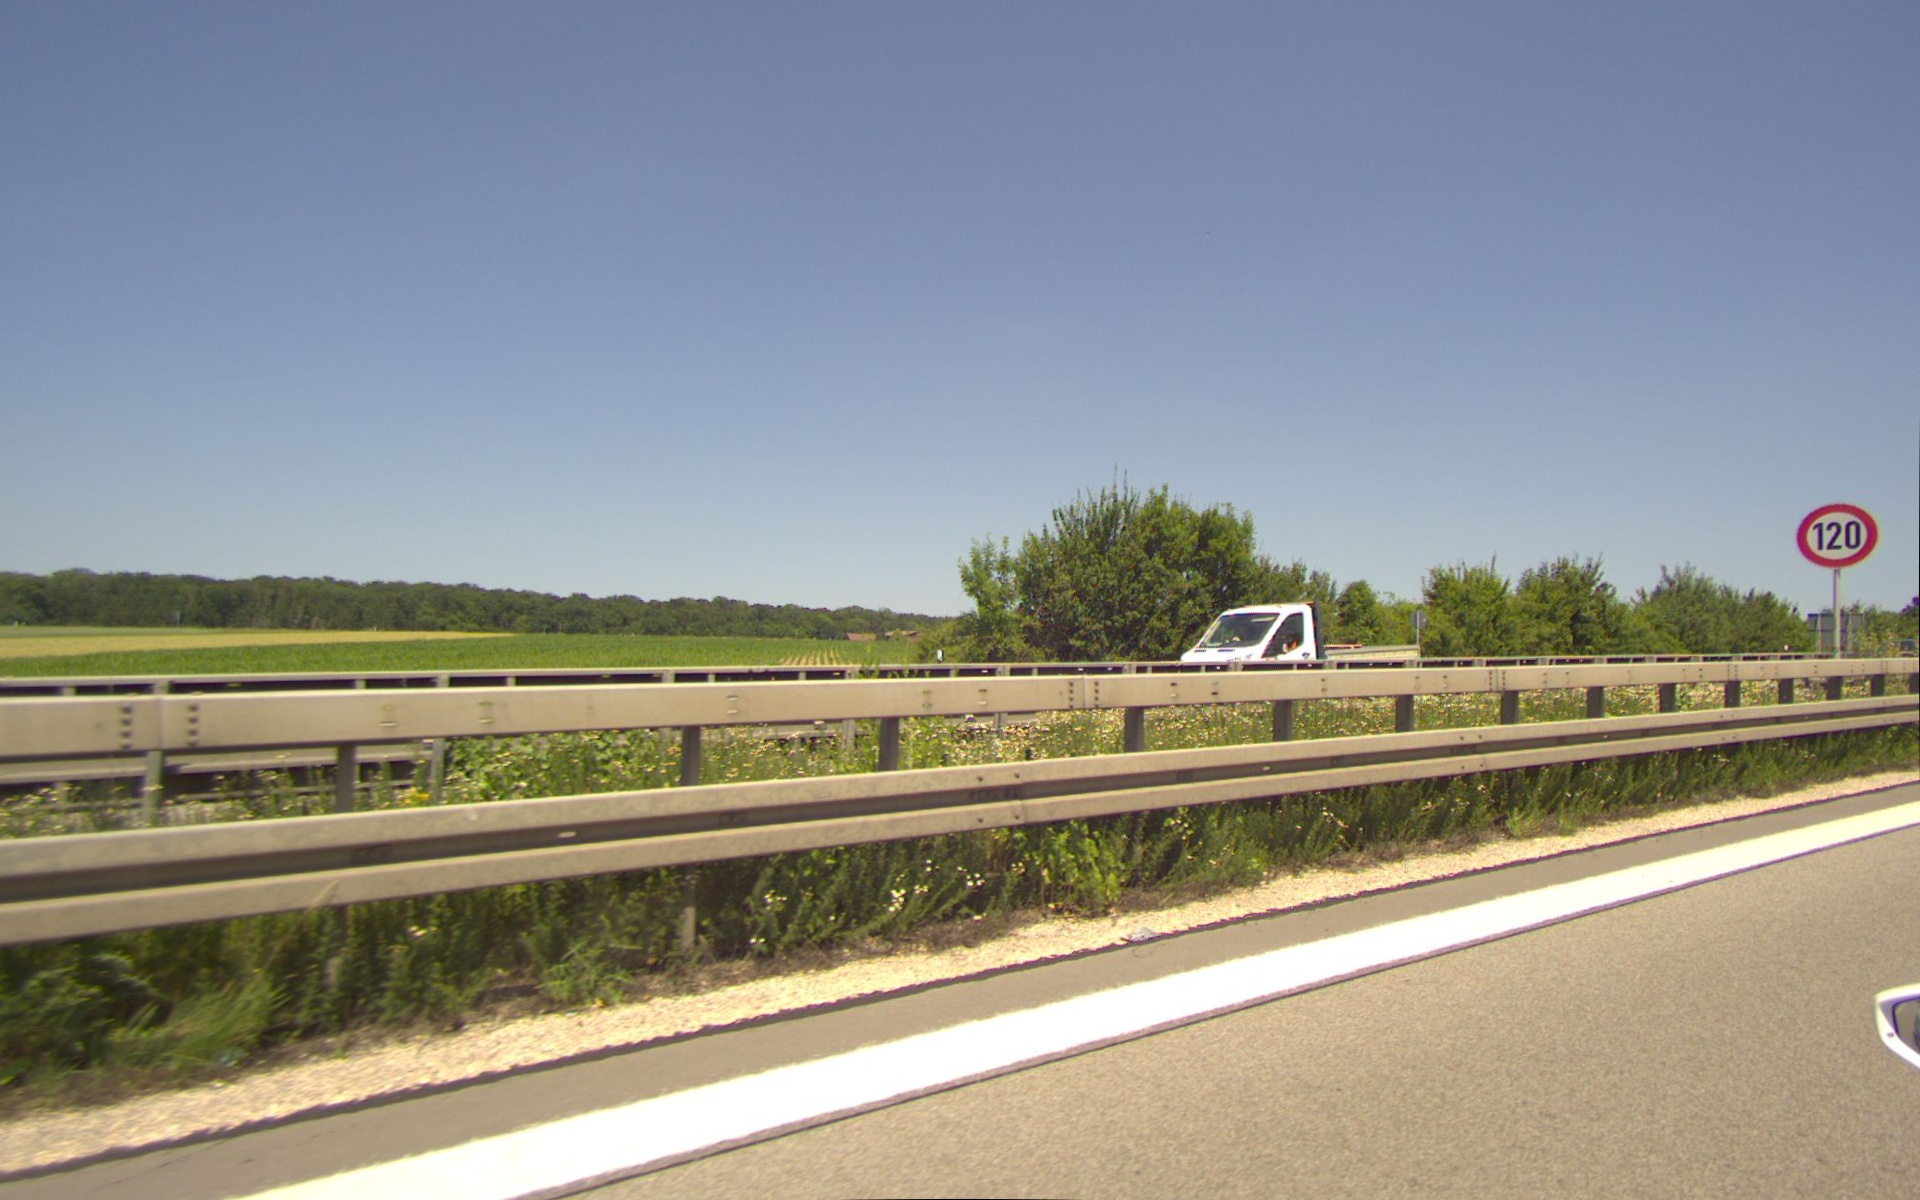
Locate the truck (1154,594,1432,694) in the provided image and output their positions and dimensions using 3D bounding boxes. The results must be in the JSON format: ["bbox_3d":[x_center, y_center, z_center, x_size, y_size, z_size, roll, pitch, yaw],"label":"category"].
[{"bbox_3d":[7.064,0.902,21.130,5.659,1.861,2.417,2,-1,-30],"label":"truck"}]

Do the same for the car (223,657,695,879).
[{"bbox_3d":[-4.323,1.330,8.987,3.444,1.550,1.629,2,-1,-30],"label":"car"}]
